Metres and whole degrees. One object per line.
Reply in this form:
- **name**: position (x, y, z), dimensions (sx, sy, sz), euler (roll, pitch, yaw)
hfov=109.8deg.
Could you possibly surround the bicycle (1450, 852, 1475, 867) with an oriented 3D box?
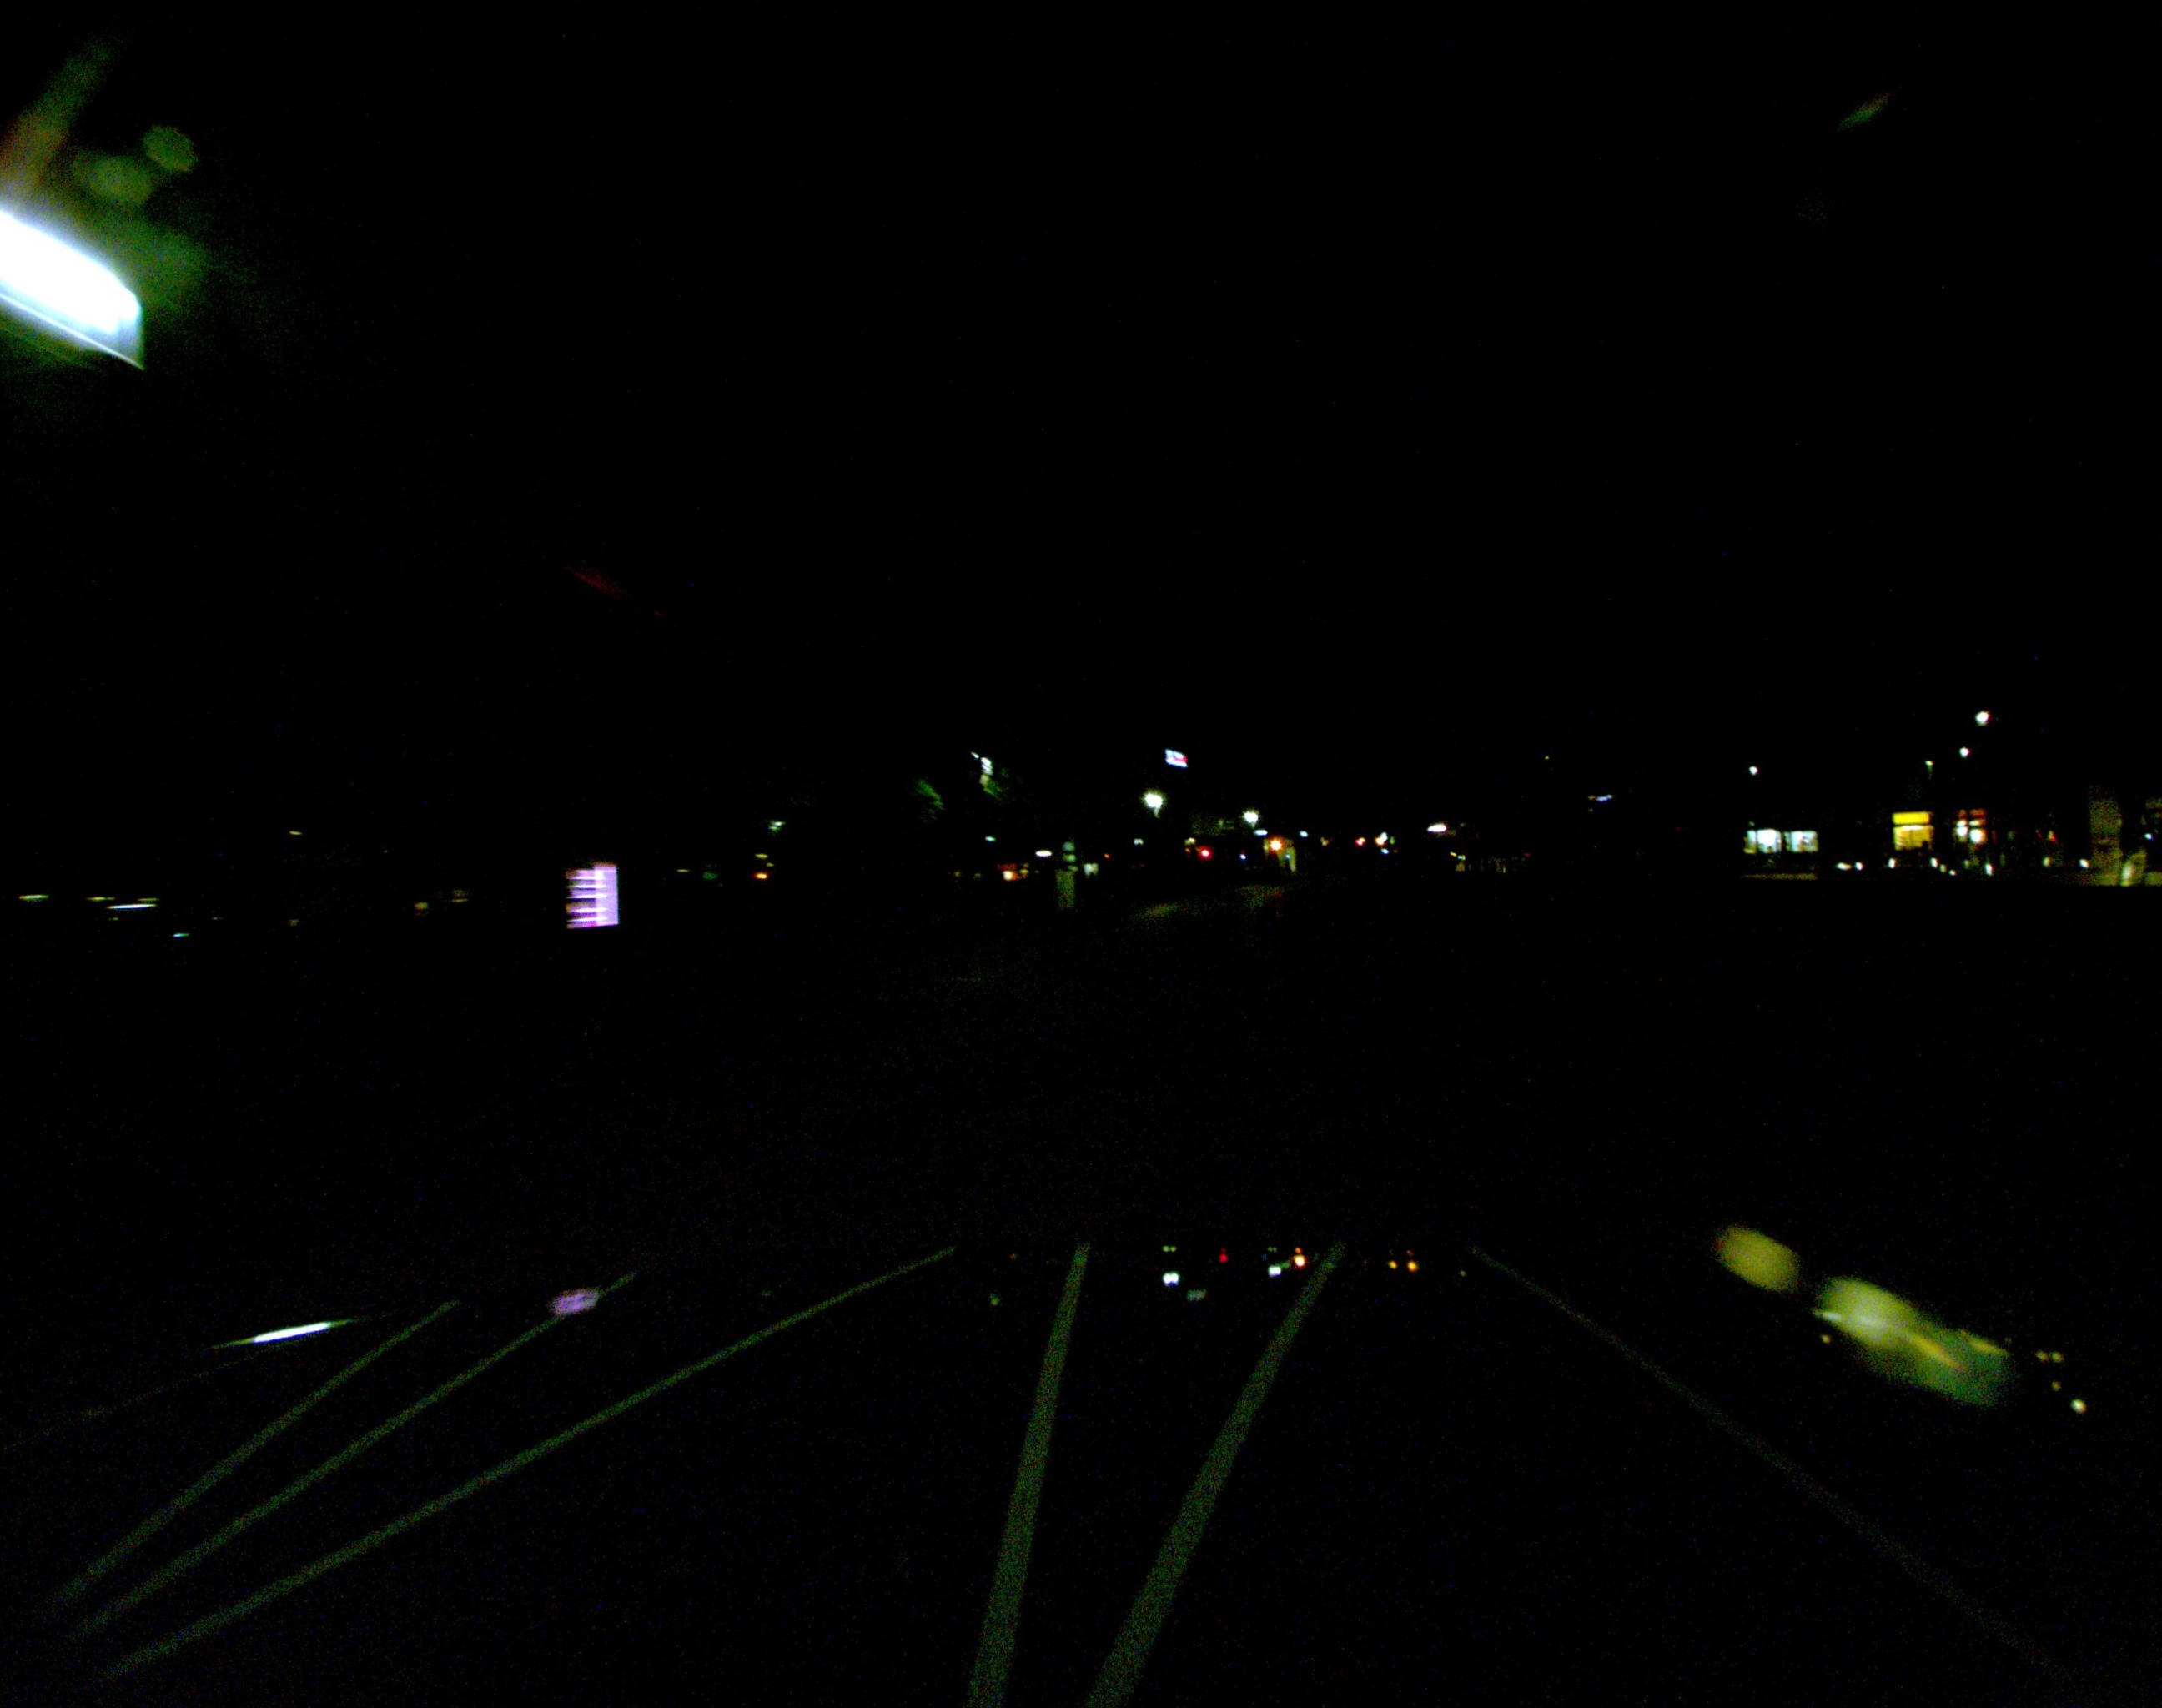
- **bicycle**: position (29.625, 0.439, 58.965), dimensions (1.617, 1.099, 0.671), euler (-2, 1, 31)

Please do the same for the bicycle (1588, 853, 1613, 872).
- **bicycle**: position (30.673, 0.506, 44.873), dimensions (0.608, 1.094, 1.749), euler (-1, -1, 14)

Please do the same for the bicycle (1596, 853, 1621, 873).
- **bicycle**: position (31.469, 0.517, 45.368), dimensions (0.608, 1.158, 1.749), euler (-1, -1, 14)

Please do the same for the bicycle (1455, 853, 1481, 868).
- **bicycle**: position (30.891, 0.531, 60.623), dimensions (1.770, 1.157, 0.671), euler (-2, 0, 31)

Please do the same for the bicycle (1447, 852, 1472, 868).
- **bicycle**: position (29.086, 0.473, 58.412), dimensions (1.617, 1.099, 0.671), euler (-3, 0, 31)

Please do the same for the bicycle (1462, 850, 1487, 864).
- **bicycle**: position (34.371, 0.268, 66.377), dimensions (1.736, 1.159, 0.788), euler (-5, -2, 37)

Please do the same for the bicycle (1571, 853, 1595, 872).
- **bicycle**: position (29.707, 0.516, 45.005), dimensions (0.608, 1.118, 1.749), euler (-1, -1, 14)

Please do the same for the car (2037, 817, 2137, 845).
- **car**: position (76.781, -1.713, 58.094), dimensions (1.965, 1.925, 4.406), euler (0, -1, -44)

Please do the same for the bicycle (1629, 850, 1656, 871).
- **bicycle**: position (33.400, 0.368, 45.223), dimensions (0.608, 1.211, 1.749), euler (-1, -1, 14)

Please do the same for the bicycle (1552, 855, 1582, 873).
- **bicycle**: position (29.022, 0.595, 45.393), dimensions (0.609, 1.063, 1.747), euler (-1, -1, -4)

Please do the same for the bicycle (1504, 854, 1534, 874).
- **bicycle**: position (25.982, 0.608, 45.132), dimensions (0.761, 1.155, 1.747), euler (-1, -1, -1)

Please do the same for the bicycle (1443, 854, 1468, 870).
- **bicycle**: position (28.277, 0.626, 57.380), dimensions (1.617, 1.099, 0.671), euler (-3, 1, 31)

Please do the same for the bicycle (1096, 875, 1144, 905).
- **bicycle**: position (1.514, 1.382, 29.421), dimensions (1.753, 1.056, 0.656), euler (-2, -1, 7)
